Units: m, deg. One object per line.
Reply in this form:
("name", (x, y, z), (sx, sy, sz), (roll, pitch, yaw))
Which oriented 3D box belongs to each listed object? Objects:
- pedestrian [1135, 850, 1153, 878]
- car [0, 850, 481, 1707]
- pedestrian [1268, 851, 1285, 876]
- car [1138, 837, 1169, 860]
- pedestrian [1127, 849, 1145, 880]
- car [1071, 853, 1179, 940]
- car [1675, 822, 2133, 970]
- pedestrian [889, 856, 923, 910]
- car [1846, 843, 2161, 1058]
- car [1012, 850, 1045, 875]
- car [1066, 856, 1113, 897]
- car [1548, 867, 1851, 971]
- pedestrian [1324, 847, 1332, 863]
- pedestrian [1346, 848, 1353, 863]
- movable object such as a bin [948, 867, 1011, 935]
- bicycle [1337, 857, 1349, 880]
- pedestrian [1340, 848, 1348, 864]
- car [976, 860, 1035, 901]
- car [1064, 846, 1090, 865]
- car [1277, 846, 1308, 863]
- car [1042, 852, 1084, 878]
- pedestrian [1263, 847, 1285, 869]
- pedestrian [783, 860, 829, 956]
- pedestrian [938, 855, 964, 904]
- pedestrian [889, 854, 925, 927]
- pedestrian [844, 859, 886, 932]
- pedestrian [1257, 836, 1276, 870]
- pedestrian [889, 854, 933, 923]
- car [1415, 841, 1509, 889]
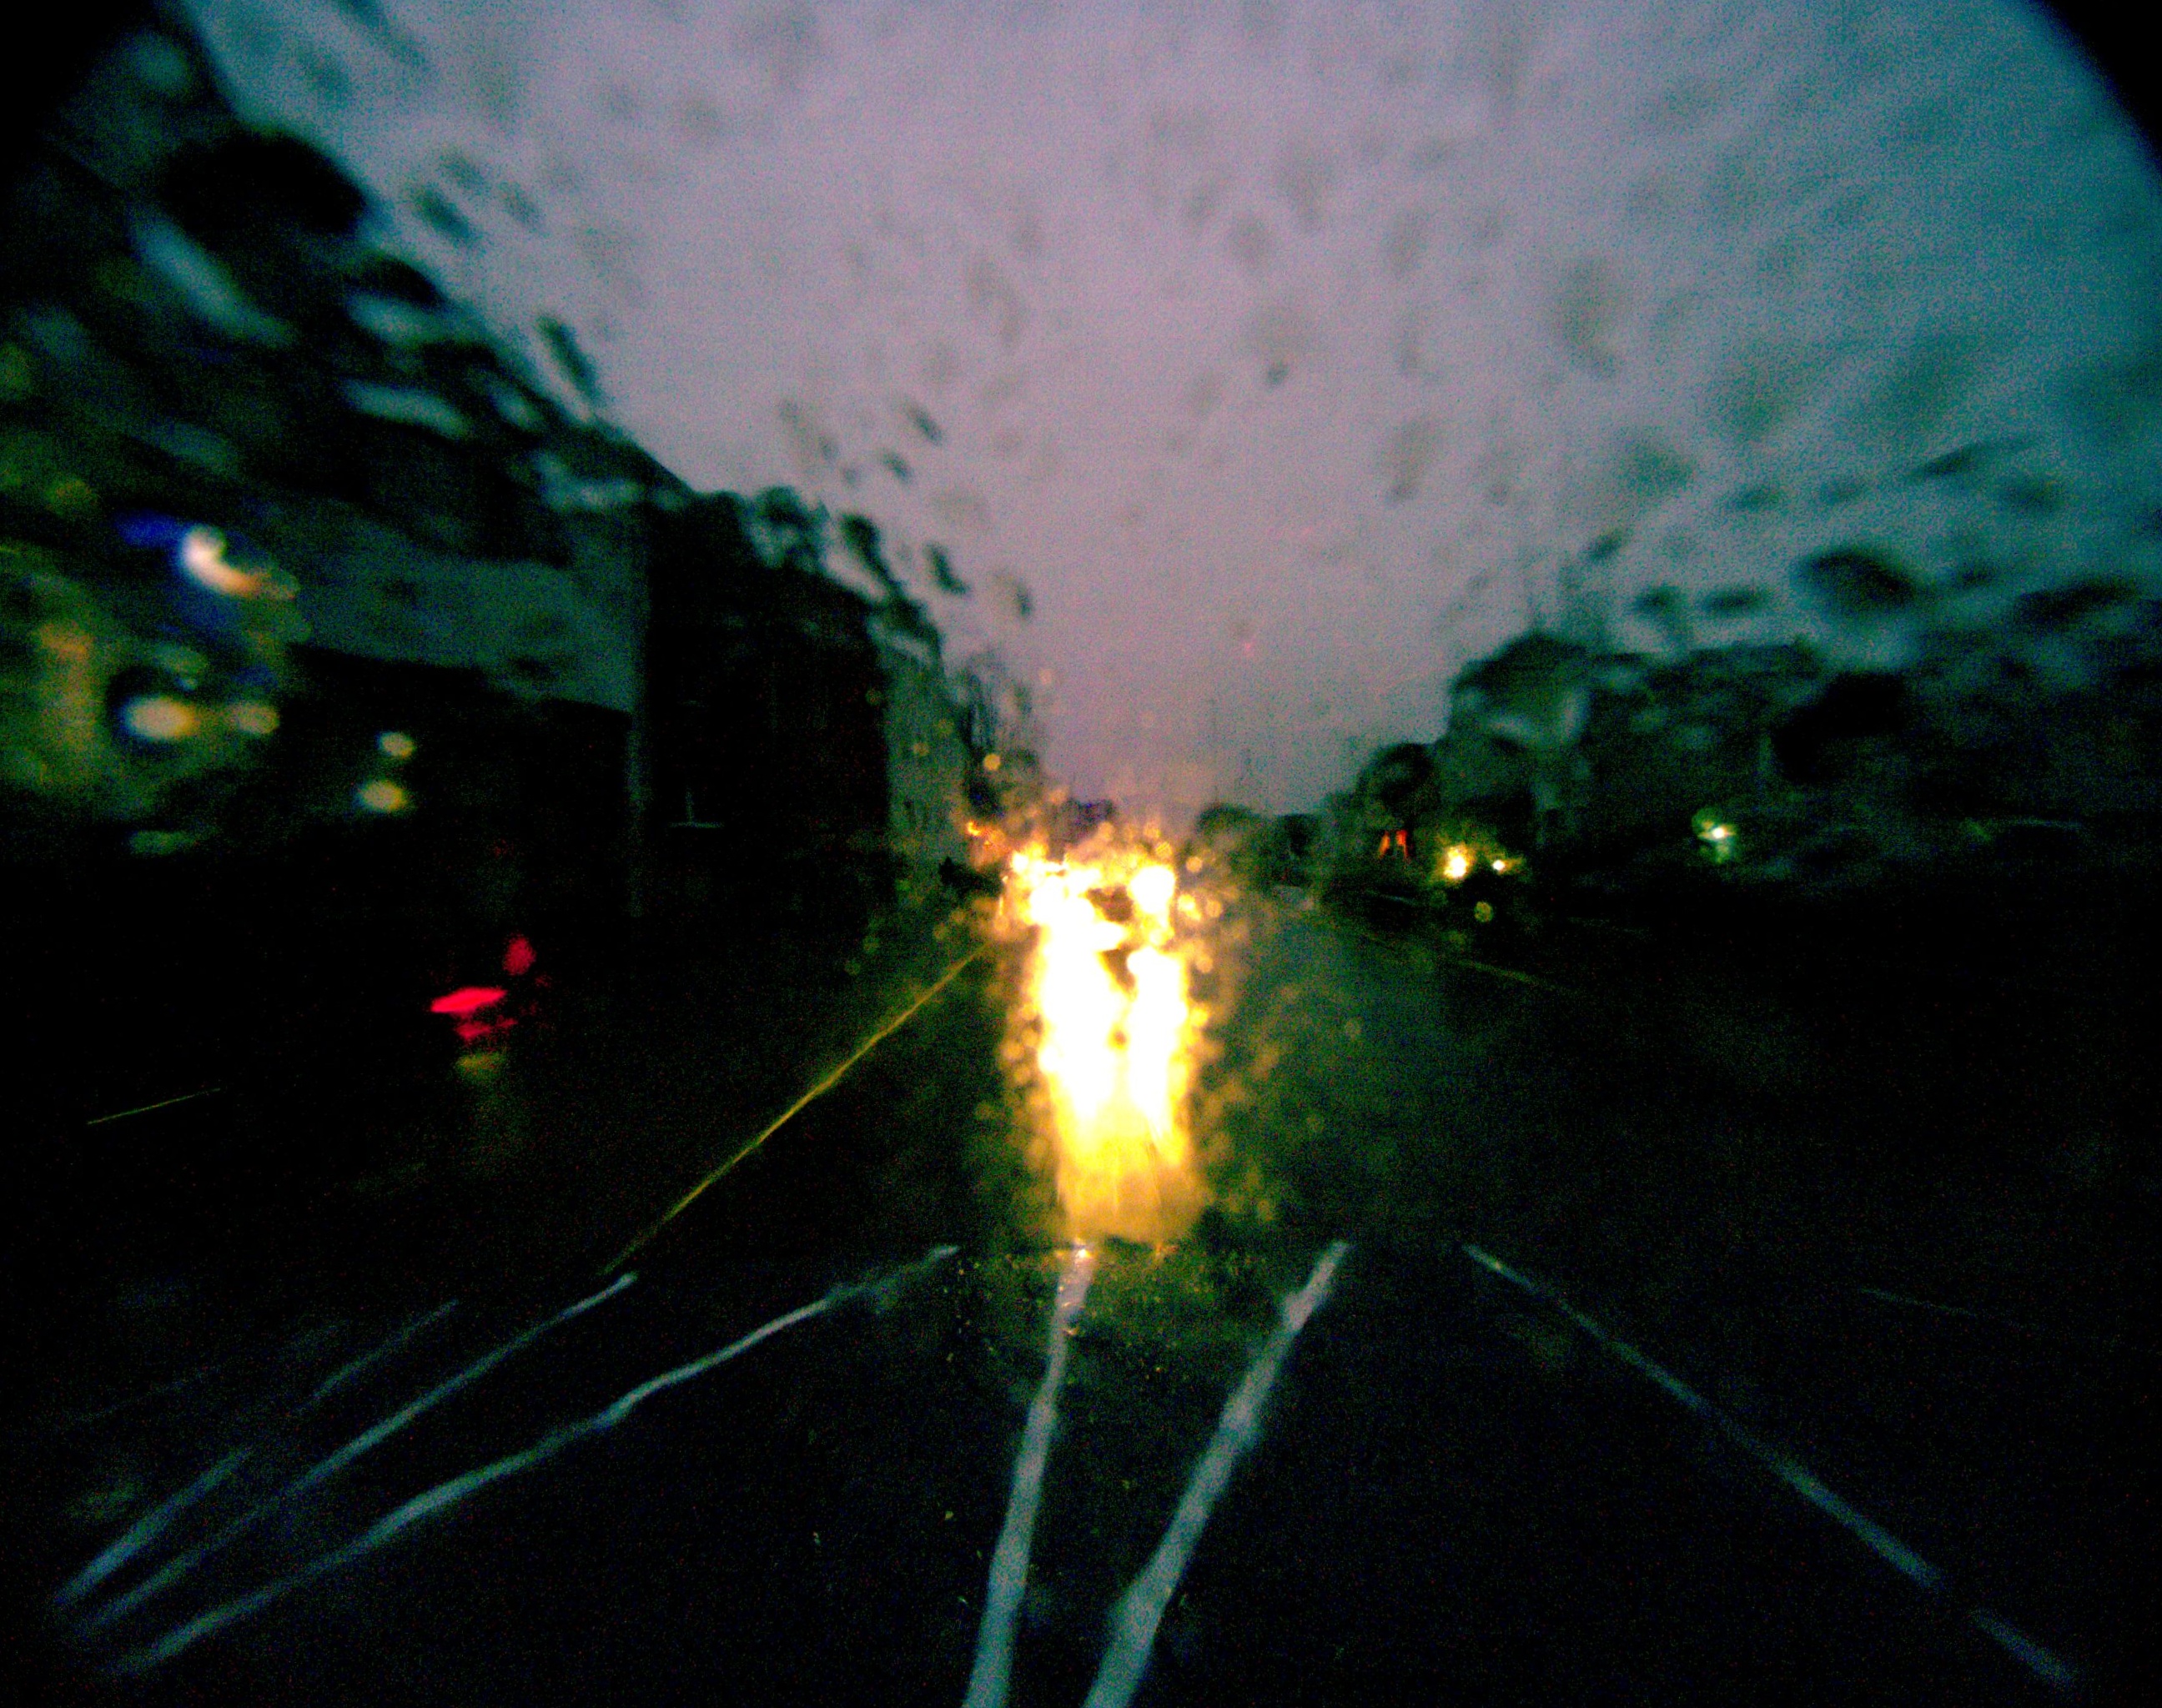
("pedestrian", (4.003, 0.636, 48.191), (0.790, 1.752, 0.769), (0, 4, 43))
("car", (-2.908, 0.861, 0.380), (1.740, 1.682, 4.385), (-1, 1, -1))
("pedestrian", (10.004, 0.480, 38.841), (0.687, 1.264, 0.750), (-3, 0, 4))
("car", (7.045, -0.552, 73.702), (2.055, 1.976, 4.541), (-2, 3, 17))
("pedestrian", (3.447, 0.667, 47.611), (0.790, 1.856, 0.711), (0, 4, 43))
("car", (0.846, 0.825, 16.869), (1.958, 1.576, 4.108), (-2, 1, -2))
("car", (9.867, 0.458, 9.334), (3.803, 1.514, 1.714), (-2, 1, -1))
("pedestrian", (-5.532, 0.900, 24.032), (0.748, 1.669, 1.052), (0, 0, 6))
("car", (9.679, 0.737, 6.713), (4.102, 1.599, 1.587), (-2, 1, 3))
("car", (-4.258, 0.617, 61.012), (1.827, 1.736, 3.993), (-4, 3, -15))
("car", (0.440, 0.941, 33.243), (1.762, 1.471, 4.019), (-3, 2, 4))
("car", (9.589, 0.968, 11.974), (3.453, 1.364, 1.601), (-2, 0, -1))
("pedestrian", (24.936, 0.122, 76.687), (0.582, 1.602, 0.500), (-3, 3, 4))
("pedestrian", (29.071, 0.163, 82.167), (0.582, 1.602, 0.500), (-3, 3, 4))
("movable object such as a bin", (-2.254, 1.023, 17.096), (1.131, 1.412, 1.417), (2, 0, 2))
("bicycle", (12.263, 0.665, 35.600), (0.470, 1.004, 1.741), (-1, 1, 16))
("pedestrian", (28.288, 0.208, 81.692), (0.582, 1.602, 0.500), (-3, 3, 4))
("car", (-2.863, 0.983, 29.776), (1.732, 1.456, 4.199), (1, 0, 2))
("car", (-0.395, 0.096, 68.195), (2.172, 1.469, 3.998), (-3, 3, 0))
("car", (25.912, 0.016, 93.160), (1.936, 1.871, 3.866), (-3, 3, -14))
("car", (-1.333, 0.751, 53.879), (2.029, 1.471, 4.551), (-3, 3, -13))
("pedestrian", (10.280, 0.230, 40.493), (0.990, 1.151, 0.903), (-2, -1, 9))
("pedestrian", (-4.854, 0.925, 13.448), (0.620, 1.617, 0.905), (-2, -1, -13))
("pedestrian", (-4.605, 0.895, 27.022), (0.530, 1.644, 0.954), (-2, 3, 10))
("pedestrian", (-4.382, 0.898, 19.173), (0.530, 1.790, 0.865), (-2, 0, 10))
("pedestrian", (-4.923, 0.915, 17.387), (0.480, 1.621, 1.020), (0, 0, 13))
("pedestrian", (9.696, -0.047, 39.632), (0.750, 1.732, 0.687), (-3, 0, 0))
("pedestrian", (-4.276, 0.847, 19.169), (0.713, 1.705, 1.035), (0, 0, 13))
("car", (14.876, 0.400, 29.955), (1.758, 1.691, 4.566), (1, 0, 6))
